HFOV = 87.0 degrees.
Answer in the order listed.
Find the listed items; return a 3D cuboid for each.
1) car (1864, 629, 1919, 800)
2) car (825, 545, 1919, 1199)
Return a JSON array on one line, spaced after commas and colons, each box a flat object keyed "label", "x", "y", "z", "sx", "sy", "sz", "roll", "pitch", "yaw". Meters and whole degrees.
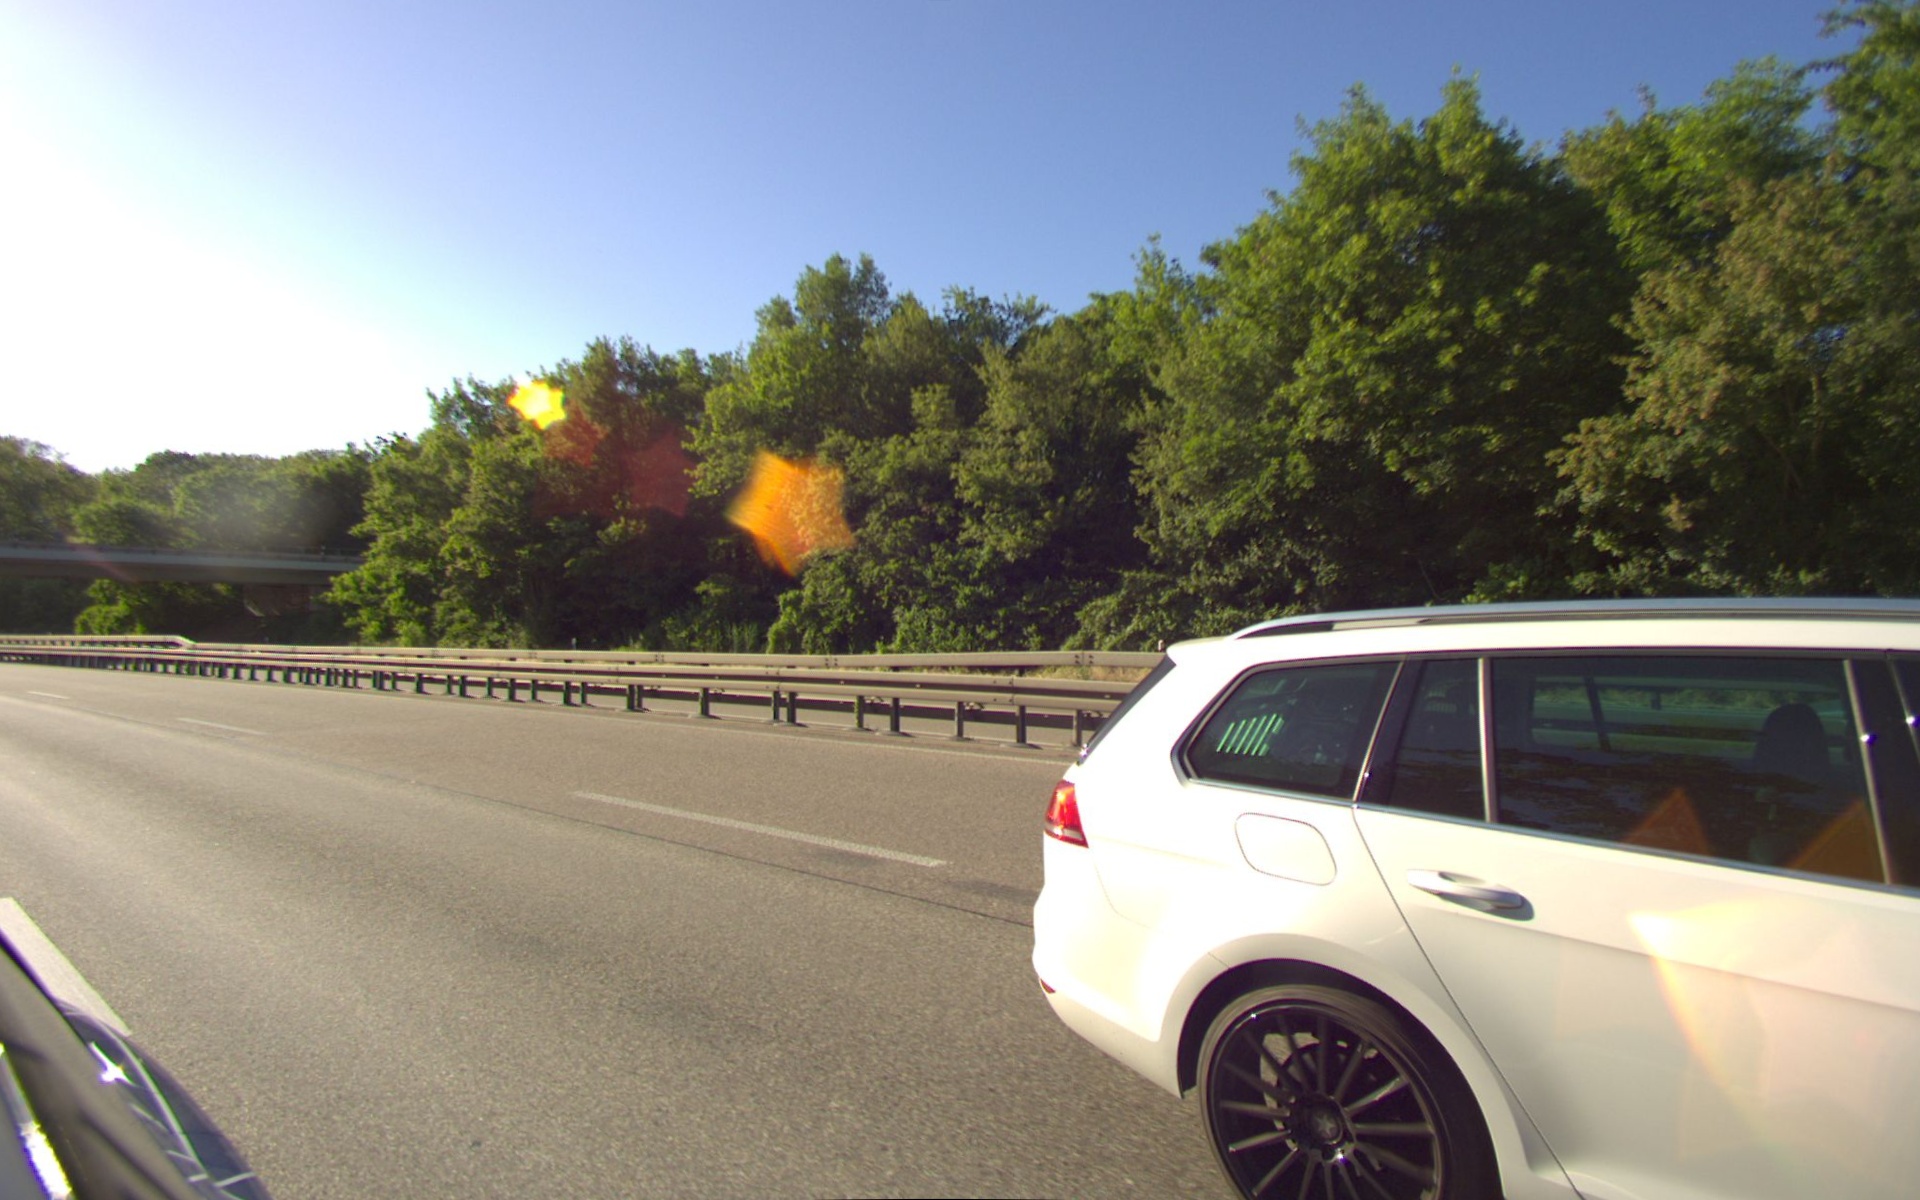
[{"label": "car", "x": 10.856, "y": 1.023, "z": 8.771, "sx": 4.420, "sy": 1.524, "sz": 1.973, "roll": -2, "pitch": -2, "yaw": 41}, {"label": "car", "x": 2.301, "y": 0.668, "z": 2.080, "sx": 5.596, "sy": 1.519, "sz": 1.909, "roll": -2, "pitch": -1, "yaw": 41}]
